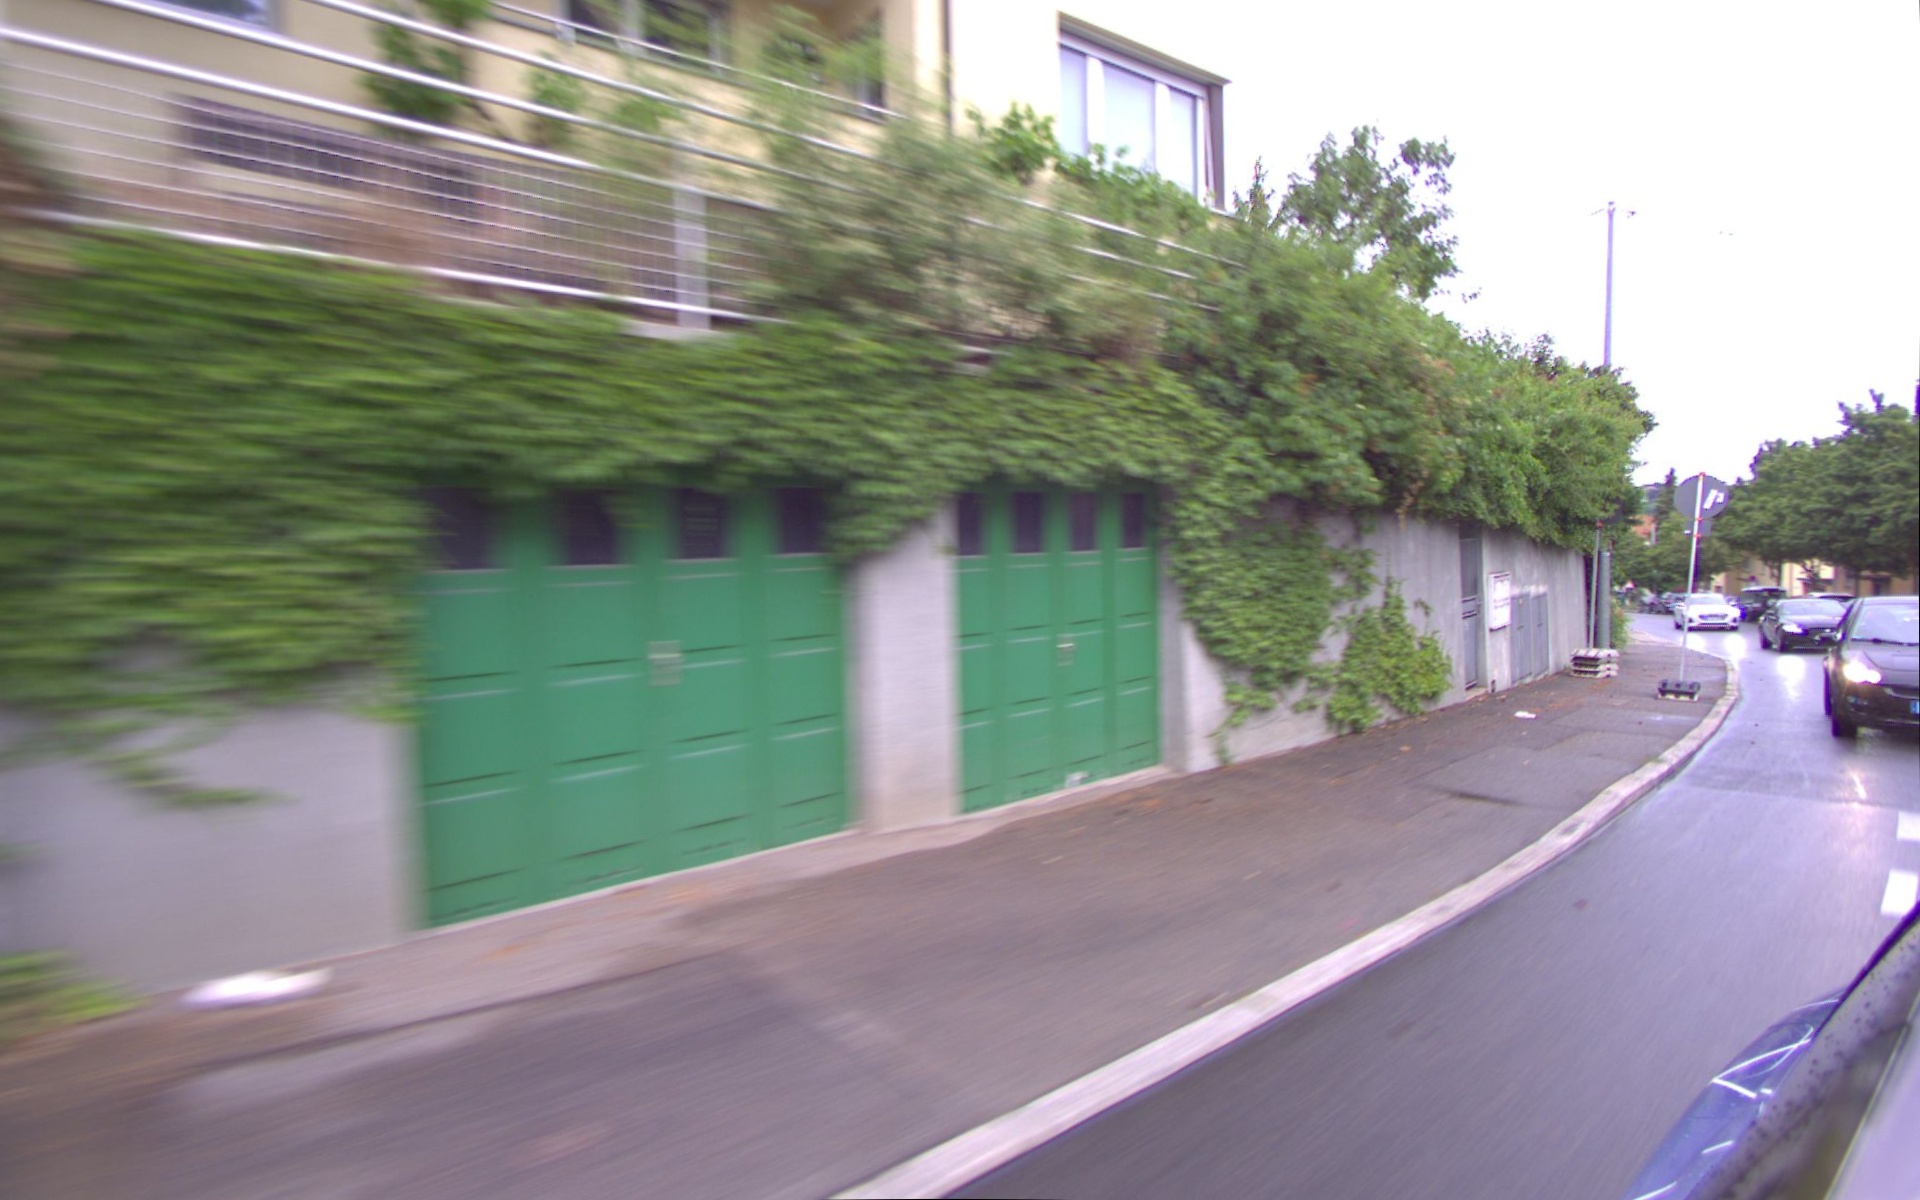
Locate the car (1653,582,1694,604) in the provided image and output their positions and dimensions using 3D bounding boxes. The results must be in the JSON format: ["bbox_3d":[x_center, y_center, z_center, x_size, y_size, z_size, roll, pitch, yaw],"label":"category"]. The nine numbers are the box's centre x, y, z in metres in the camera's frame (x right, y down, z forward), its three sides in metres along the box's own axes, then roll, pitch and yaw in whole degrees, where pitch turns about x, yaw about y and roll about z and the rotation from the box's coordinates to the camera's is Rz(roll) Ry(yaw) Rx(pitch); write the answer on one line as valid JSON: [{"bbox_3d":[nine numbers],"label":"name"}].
[{"bbox_3d":[54.374,-0.572,77.157,1.892,1.620,4.053,0,1,26],"label":"car"}]

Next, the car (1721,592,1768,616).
[{"bbox_3d":[48.177,0.222,62.213,1.529,1.390,3.507,3,2,27],"label":"car"}]

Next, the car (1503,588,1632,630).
[{"bbox_3d":[23.407,0.315,39.062,4.155,1.423,1.812,2,1,34],"label":"car"}]

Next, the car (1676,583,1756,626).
[{"bbox_3d":[33.656,0.173,45.175,1.999,1.760,4.557,-2,0,26],"label":"car"}]

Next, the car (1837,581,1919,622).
[{"bbox_3d":[37.067,0.006,40.561,1.810,1.528,4.694,1,2,27],"label":"car"}]

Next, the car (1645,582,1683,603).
[{"bbox_3d":[56.557,-0.625,81.341,1.846,1.592,3.874,1,1,26],"label":"car"}]

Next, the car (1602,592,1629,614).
[{"bbox_3d":[62.531,0.299,96.534,1.988,2.039,3.948,1,1,36],"label":"car"}]

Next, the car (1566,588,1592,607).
[{"bbox_3d":[68.697,-0.316,112.432,1.979,2.039,3.966,1,1,25],"label":"car"}]

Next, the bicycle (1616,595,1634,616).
[{"bbox_3d":[35.376,0.286,53.868,0.584,1.113,1.515,-2,0,26],"label":"bicycle"}]

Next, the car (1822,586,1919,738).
[{"bbox_3d":[10.770,0.572,11.195,1.739,1.460,4.297,-1,0,39],"label":"car"}]

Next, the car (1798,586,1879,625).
[{"bbox_3d":[39.537,0.201,45.638,1.798,1.634,4.464,2,1,29],"label":"car"}]

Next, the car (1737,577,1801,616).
[{"bbox_3d":[45.739,-0.234,57.298,1.806,2.037,4.521,3,2,26],"label":"car"}]

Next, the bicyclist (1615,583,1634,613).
[{"bbox_3d":[35.383,-0.087,53.906,0.678,1.557,0.778,-3,-1,26],"label":"bicyclist"}]

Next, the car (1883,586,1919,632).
[{"bbox_3d":[34.793,0.324,36.075,1.707,1.564,4.252,2,2,28],"label":"car"}]
